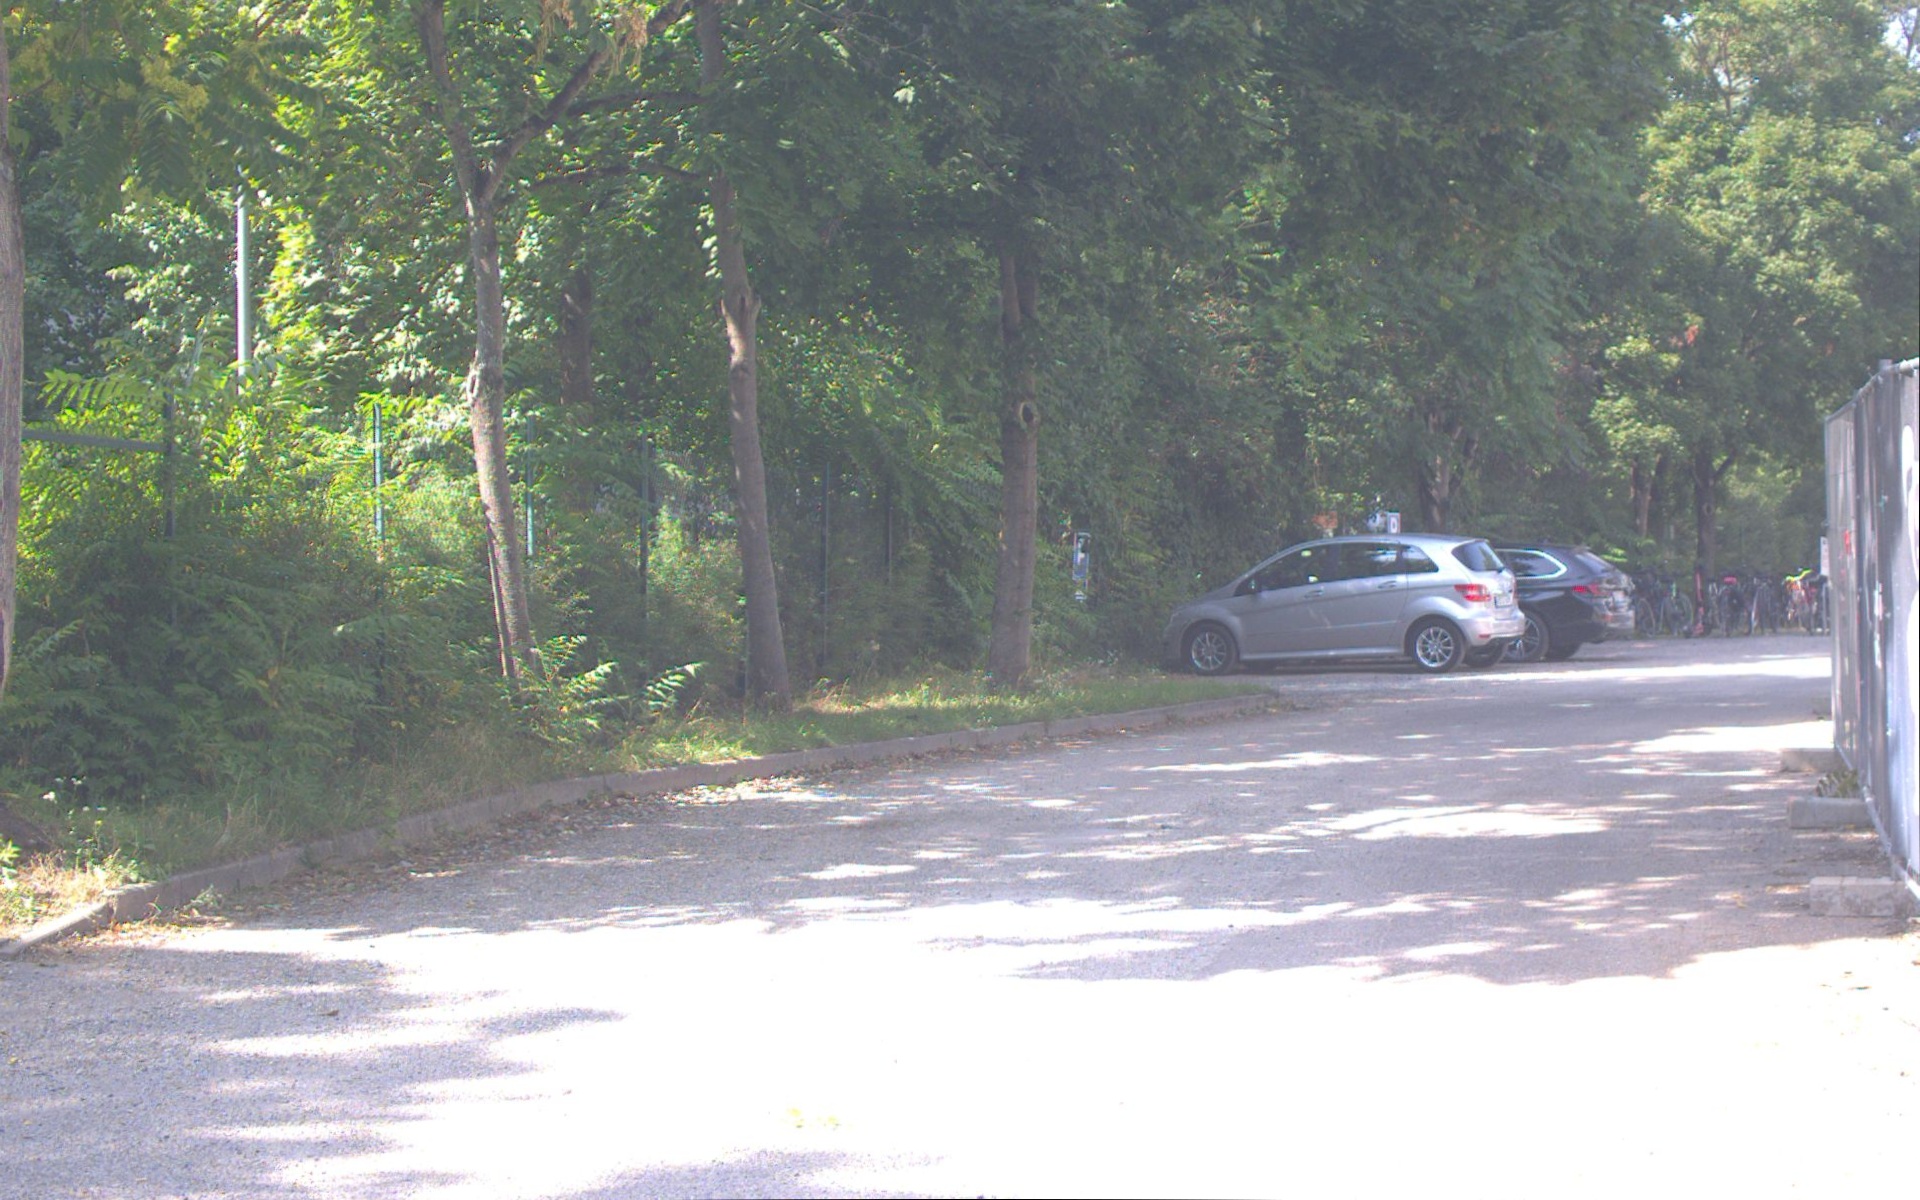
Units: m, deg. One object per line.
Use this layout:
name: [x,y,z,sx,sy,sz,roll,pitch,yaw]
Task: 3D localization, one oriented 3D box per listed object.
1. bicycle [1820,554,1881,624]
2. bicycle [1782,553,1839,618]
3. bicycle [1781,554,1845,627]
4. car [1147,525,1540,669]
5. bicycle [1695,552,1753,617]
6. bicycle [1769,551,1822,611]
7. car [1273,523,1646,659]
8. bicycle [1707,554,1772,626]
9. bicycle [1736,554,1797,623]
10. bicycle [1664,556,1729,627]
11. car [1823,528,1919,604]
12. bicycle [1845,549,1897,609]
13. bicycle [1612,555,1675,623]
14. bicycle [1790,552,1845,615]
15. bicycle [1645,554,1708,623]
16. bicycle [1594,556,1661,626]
bicycle: [14.449,-0.186,55.762,0.499,1.104,1.797,0,1,29]
bicycle: [14.727,-0.263,59.508,0.499,1.104,1.797,0,1,29]
bicycle: [13.259,-0.155,53.385,0.499,1.104,1.797,0,1,29]
car: [4.502,-0.057,40.349,4.153,1.607,1.997,0,1,26]
bicycle: [13.477,-0.279,60.595,0.499,1.104,1.797,0,1,29]
bicycle: [15.720,-0.369,64.678,0.499,1.104,1.797,0,1,29]
car: [6.168,-0.133,42.451,4.153,1.607,1.997,0,1,26]
bicycle: [12.345,-0.169,54.416,0.499,1.104,1.797,0,1,29]
bicycle: [13.343,-0.193,56.861,0.499,1.104,1.797,0,1,29]
bicycle: [11.819,-0.150,55.142,0.499,1.104,1.797,0,1,29]
car: [19.626,-0.694,69.484,3.992,1.505,1.798,0,1,24]
bicycle: [17.090,-0.404,64.475,0.499,1.104,1.797,0,1,29]
bicycle: [11.402,-0.184,57.317,0.499,1.104,1.797,0,1,29]
bicycle: [15.353,-0.298,61.526,0.499,1.104,1.797,0,1,29]
bicycle: [11.899,-0.196,57.098,0.499,1.104,1.797,0,1,29]
bicycle: [10.741,-0.154,55.288,0.499,1.104,1.797,0,1,29]
